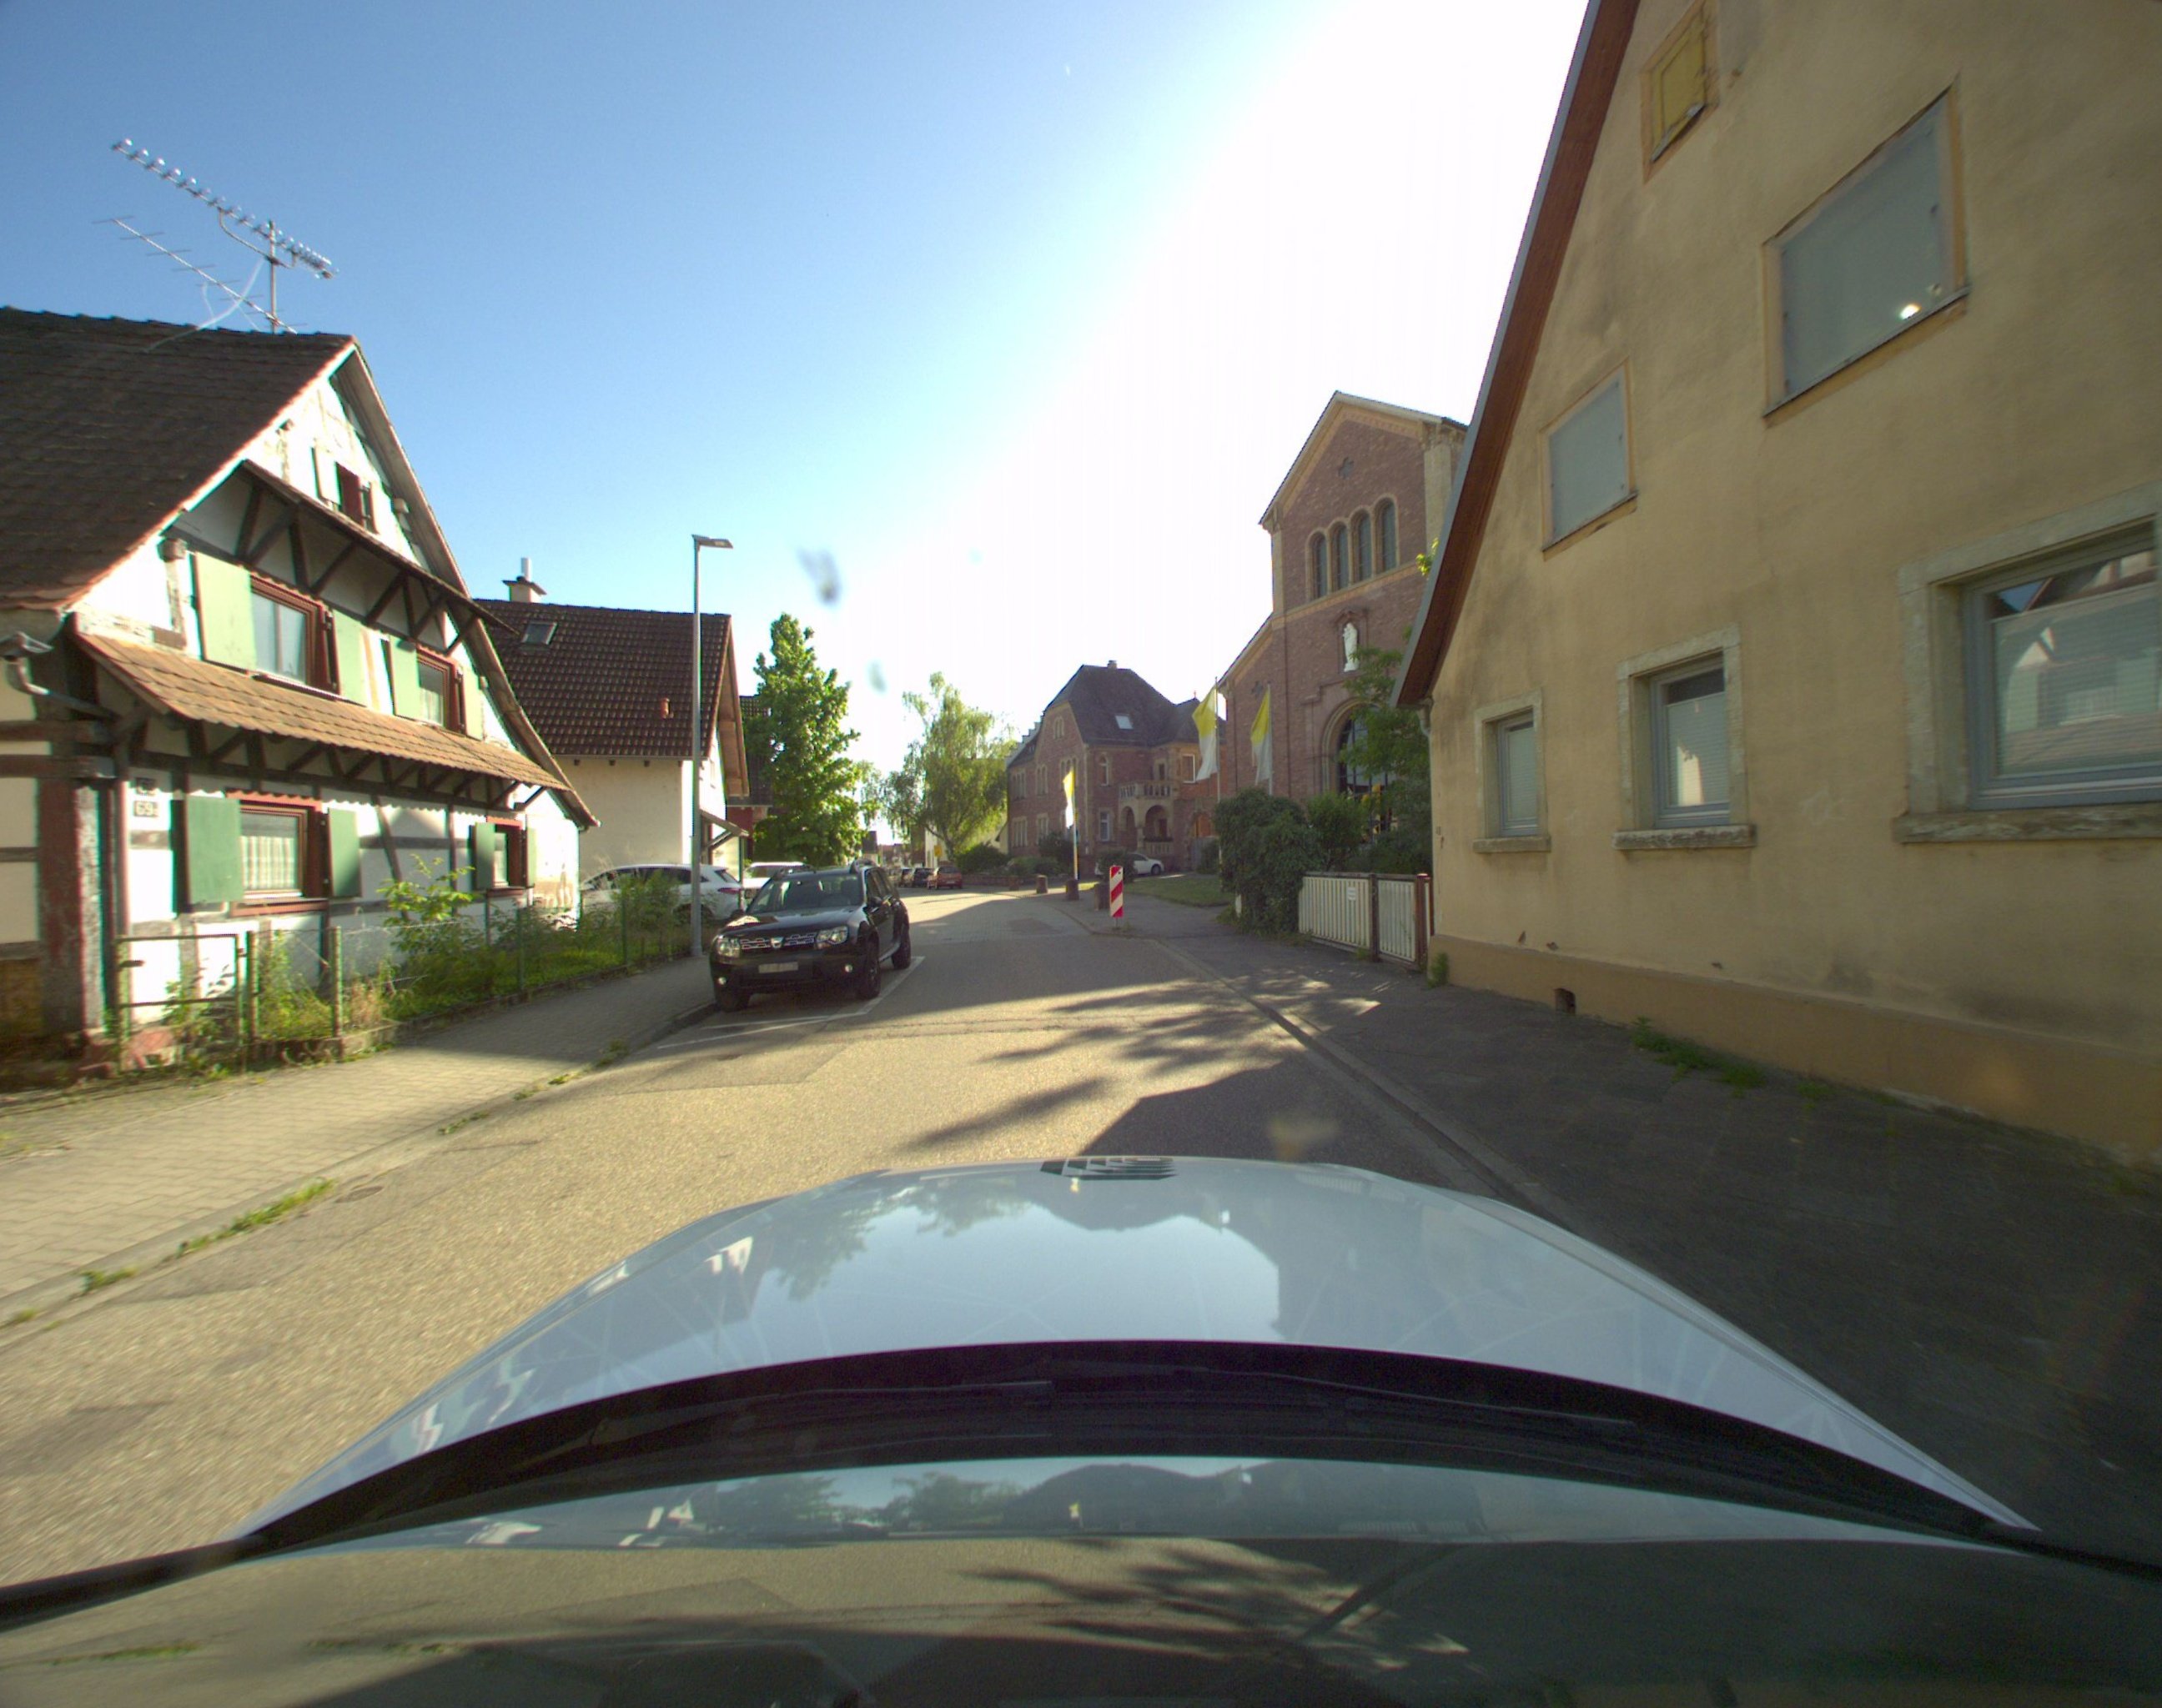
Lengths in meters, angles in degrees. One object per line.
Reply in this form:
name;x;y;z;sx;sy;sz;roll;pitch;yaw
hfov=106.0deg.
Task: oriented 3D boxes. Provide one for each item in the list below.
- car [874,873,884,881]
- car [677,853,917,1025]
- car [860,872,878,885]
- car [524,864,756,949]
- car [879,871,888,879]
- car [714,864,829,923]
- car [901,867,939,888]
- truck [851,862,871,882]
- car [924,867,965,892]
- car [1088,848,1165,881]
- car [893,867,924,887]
car;-35.547;4.073;143.222;1.590;1.443;3.598;-1;-1;-13
car;-3.451;0.932;10.850;1.829;1.671;4.345;-5;-1;-4
car;-23.802;2.735;91.411;1.672;1.402;3.877;-3;0;-11
car;-9.068;1.016;17.180;3.999;1.589;1.987;0;0;-19
car;-37.601;4.042;154.933;1.590;1.443;3.598;-1;-1;-13
car;-9.209;1.117;24.656;1.811;1.596;4.444;-1;-1;-1
car;-11.596;1.648;58.474;1.815;1.436;4.253;-1;-1;-22
truck;-32.822;2.740;121.387;2.268;2.869;5.762;-1;-2;-10
car;-8.511;1.554;50.665;1.655;1.479;3.904;-1;-1;-22
car;2.604;0.594;46.783;3.921;1.496;1.887;-5;-1;-28
car;-13.347;1.765;62.832;1.813;1.436;4.258;-1;-1;-19
